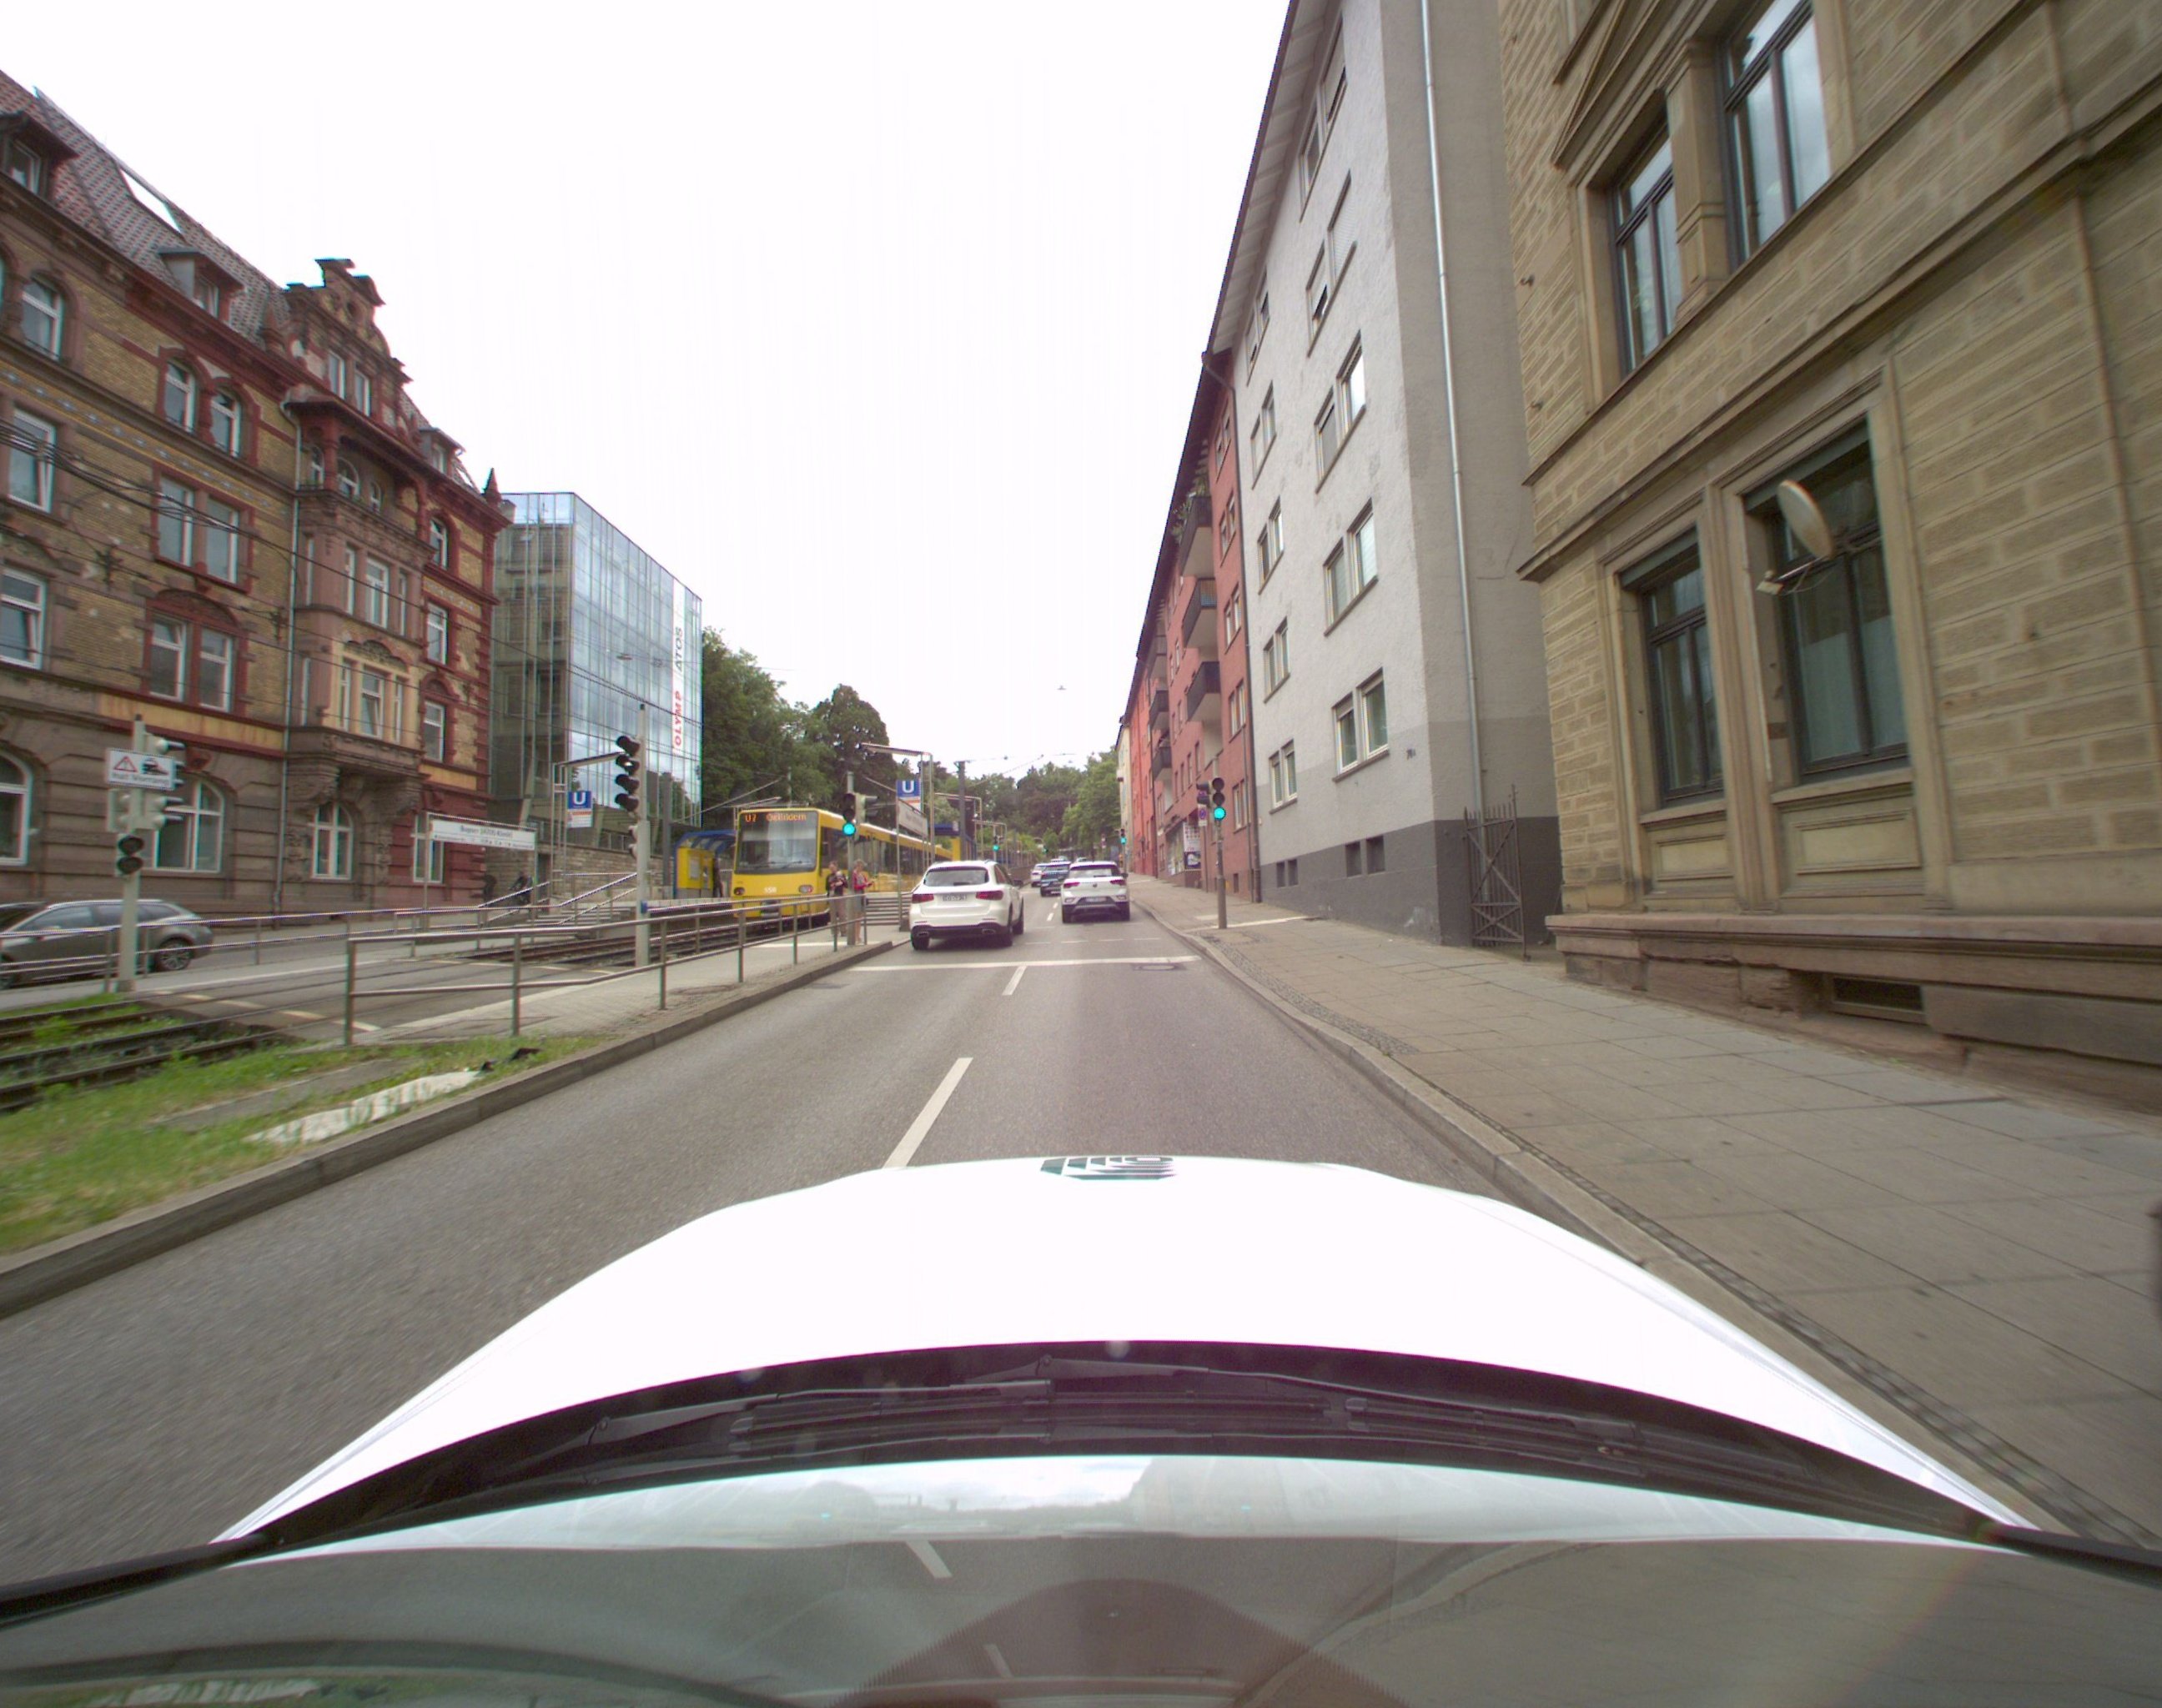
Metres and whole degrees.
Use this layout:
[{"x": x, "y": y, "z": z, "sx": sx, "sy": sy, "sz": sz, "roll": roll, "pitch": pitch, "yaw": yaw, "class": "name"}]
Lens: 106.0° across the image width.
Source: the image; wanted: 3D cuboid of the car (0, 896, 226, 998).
[{"x": -17.907, "y": 1.583, "z": 13.879, "sx": 1.878, "sy": 1.418, "sz": 4.556, "roll": -2, "pitch": 0, "yaw": -2, "class": "car"}]

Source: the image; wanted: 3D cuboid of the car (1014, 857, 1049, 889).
[{"x": -3.114, "y": 1.189, "z": 52.156, "sx": 1.987, "sy": 1.881, "sz": 3.999, "roll": -1, "pitch": 0, "yaw": -1, "class": "car"}]

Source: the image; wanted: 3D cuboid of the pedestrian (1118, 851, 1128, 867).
[{"x": 4.590, "y": 0.530, "z": 89.140, "sx": 0.834, "sy": 1.712, "sz": 0.817, "roll": -4, "pitch": 0, "yaw": -14, "class": "pedestrian"}]

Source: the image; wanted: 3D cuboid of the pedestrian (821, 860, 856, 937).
[{"x": -5.468, "y": 0.993, "z": 18.396, "sx": 0.621, "sy": 1.695, "sz": 0.658, "roll": -2, "pitch": -1, "yaw": -10, "class": "pedestrian"}]

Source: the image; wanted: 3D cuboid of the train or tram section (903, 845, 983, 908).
[{"x": -8.625, "y": 1.524, "z": 52.665, "sx": 2.940, "sy": 3.484, "sz": 12.215, "roll": -2, "pitch": -2, "yaw": 0, "class": "train or tram section"}]

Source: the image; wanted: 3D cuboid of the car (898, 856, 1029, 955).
[{"x": -2.213, "y": 0.915, "z": 16.531, "sx": 1.870, "sy": 1.652, "sz": 4.342, "roll": -2, "pitch": 0, "yaw": 1, "class": "car"}]

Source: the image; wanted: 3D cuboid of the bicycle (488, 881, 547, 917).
[{"x": -22.246, "y": 1.741, "z": 32.229, "sx": 0.772, "sy": 1.284, "sz": 2.422, "roll": -2, "pitch": 0, "yaw": -5, "class": "bicycle"}]

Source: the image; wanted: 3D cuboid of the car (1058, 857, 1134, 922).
[{"x": 0.406, "y": 0.894, "z": 22.140, "sx": 1.858, "sy": 1.556, "sz": 3.895, "roll": -1, "pitch": 0, "yaw": 1, "class": "car"}]

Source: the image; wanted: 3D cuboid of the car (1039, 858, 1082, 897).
[{"x": -0.922, "y": 1.062, "z": 38.566, "sx": 1.855, "sy": 1.632, "sz": 3.959, "roll": -2, "pitch": 0, "yaw": 0, "class": "car"}]

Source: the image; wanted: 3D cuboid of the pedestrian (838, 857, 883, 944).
[{"x": -4.380, "y": 0.900, "z": 16.221, "sx": 0.676, "sy": 1.680, "sz": 0.685, "roll": -2, "pitch": 0, "yaw": -3, "class": "pedestrian"}]

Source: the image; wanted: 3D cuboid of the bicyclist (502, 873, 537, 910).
[{"x": -22.255, "y": 1.481, "z": 32.293, "sx": 0.767, "sy": 1.428, "sz": 0.905, "roll": -2, "pitch": 0, "yaw": -5, "class": "bicyclist"}]

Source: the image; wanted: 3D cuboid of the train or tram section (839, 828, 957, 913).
[{"x": -8.660, "y": 1.038, "z": 40.484, "sx": 2.940, "sy": 3.472, "sz": 12.214, "roll": -2, "pitch": -3, "yaw": 0, "class": "train or tram section"}]

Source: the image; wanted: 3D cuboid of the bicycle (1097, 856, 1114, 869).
[{"x": 2.492, "y": 0.843, "z": 82.122, "sx": 0.642, "sy": 1.142, "sz": 2.047, "roll": -11, "pitch": 3, "yaw": -25, "class": "bicycle"}]

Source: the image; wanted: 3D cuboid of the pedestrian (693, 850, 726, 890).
[{"x": -15.484, "y": 0.666, "z": 33.944, "sx": 0.972, "sy": 1.595, "sz": 0.765, "roll": -2, "pitch": 0, "yaw": 0, "class": "pedestrian"}]

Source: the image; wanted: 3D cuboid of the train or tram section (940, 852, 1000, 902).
[{"x": -8.662, "y": 1.836, "z": 65.273, "sx": 2.940, "sy": 3.509, "sz": 12.980, "roll": -3, "pitch": -1, "yaw": -1, "class": "train or tram section"}]

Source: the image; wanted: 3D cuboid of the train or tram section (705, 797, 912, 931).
[{"x": -8.705, "y": 0.520, "z": 28.395, "sx": 2.940, "sy": 3.544, "sz": 12.394, "roll": -2, "pitch": -2, "yaw": 0, "class": "train or tram section"}]
